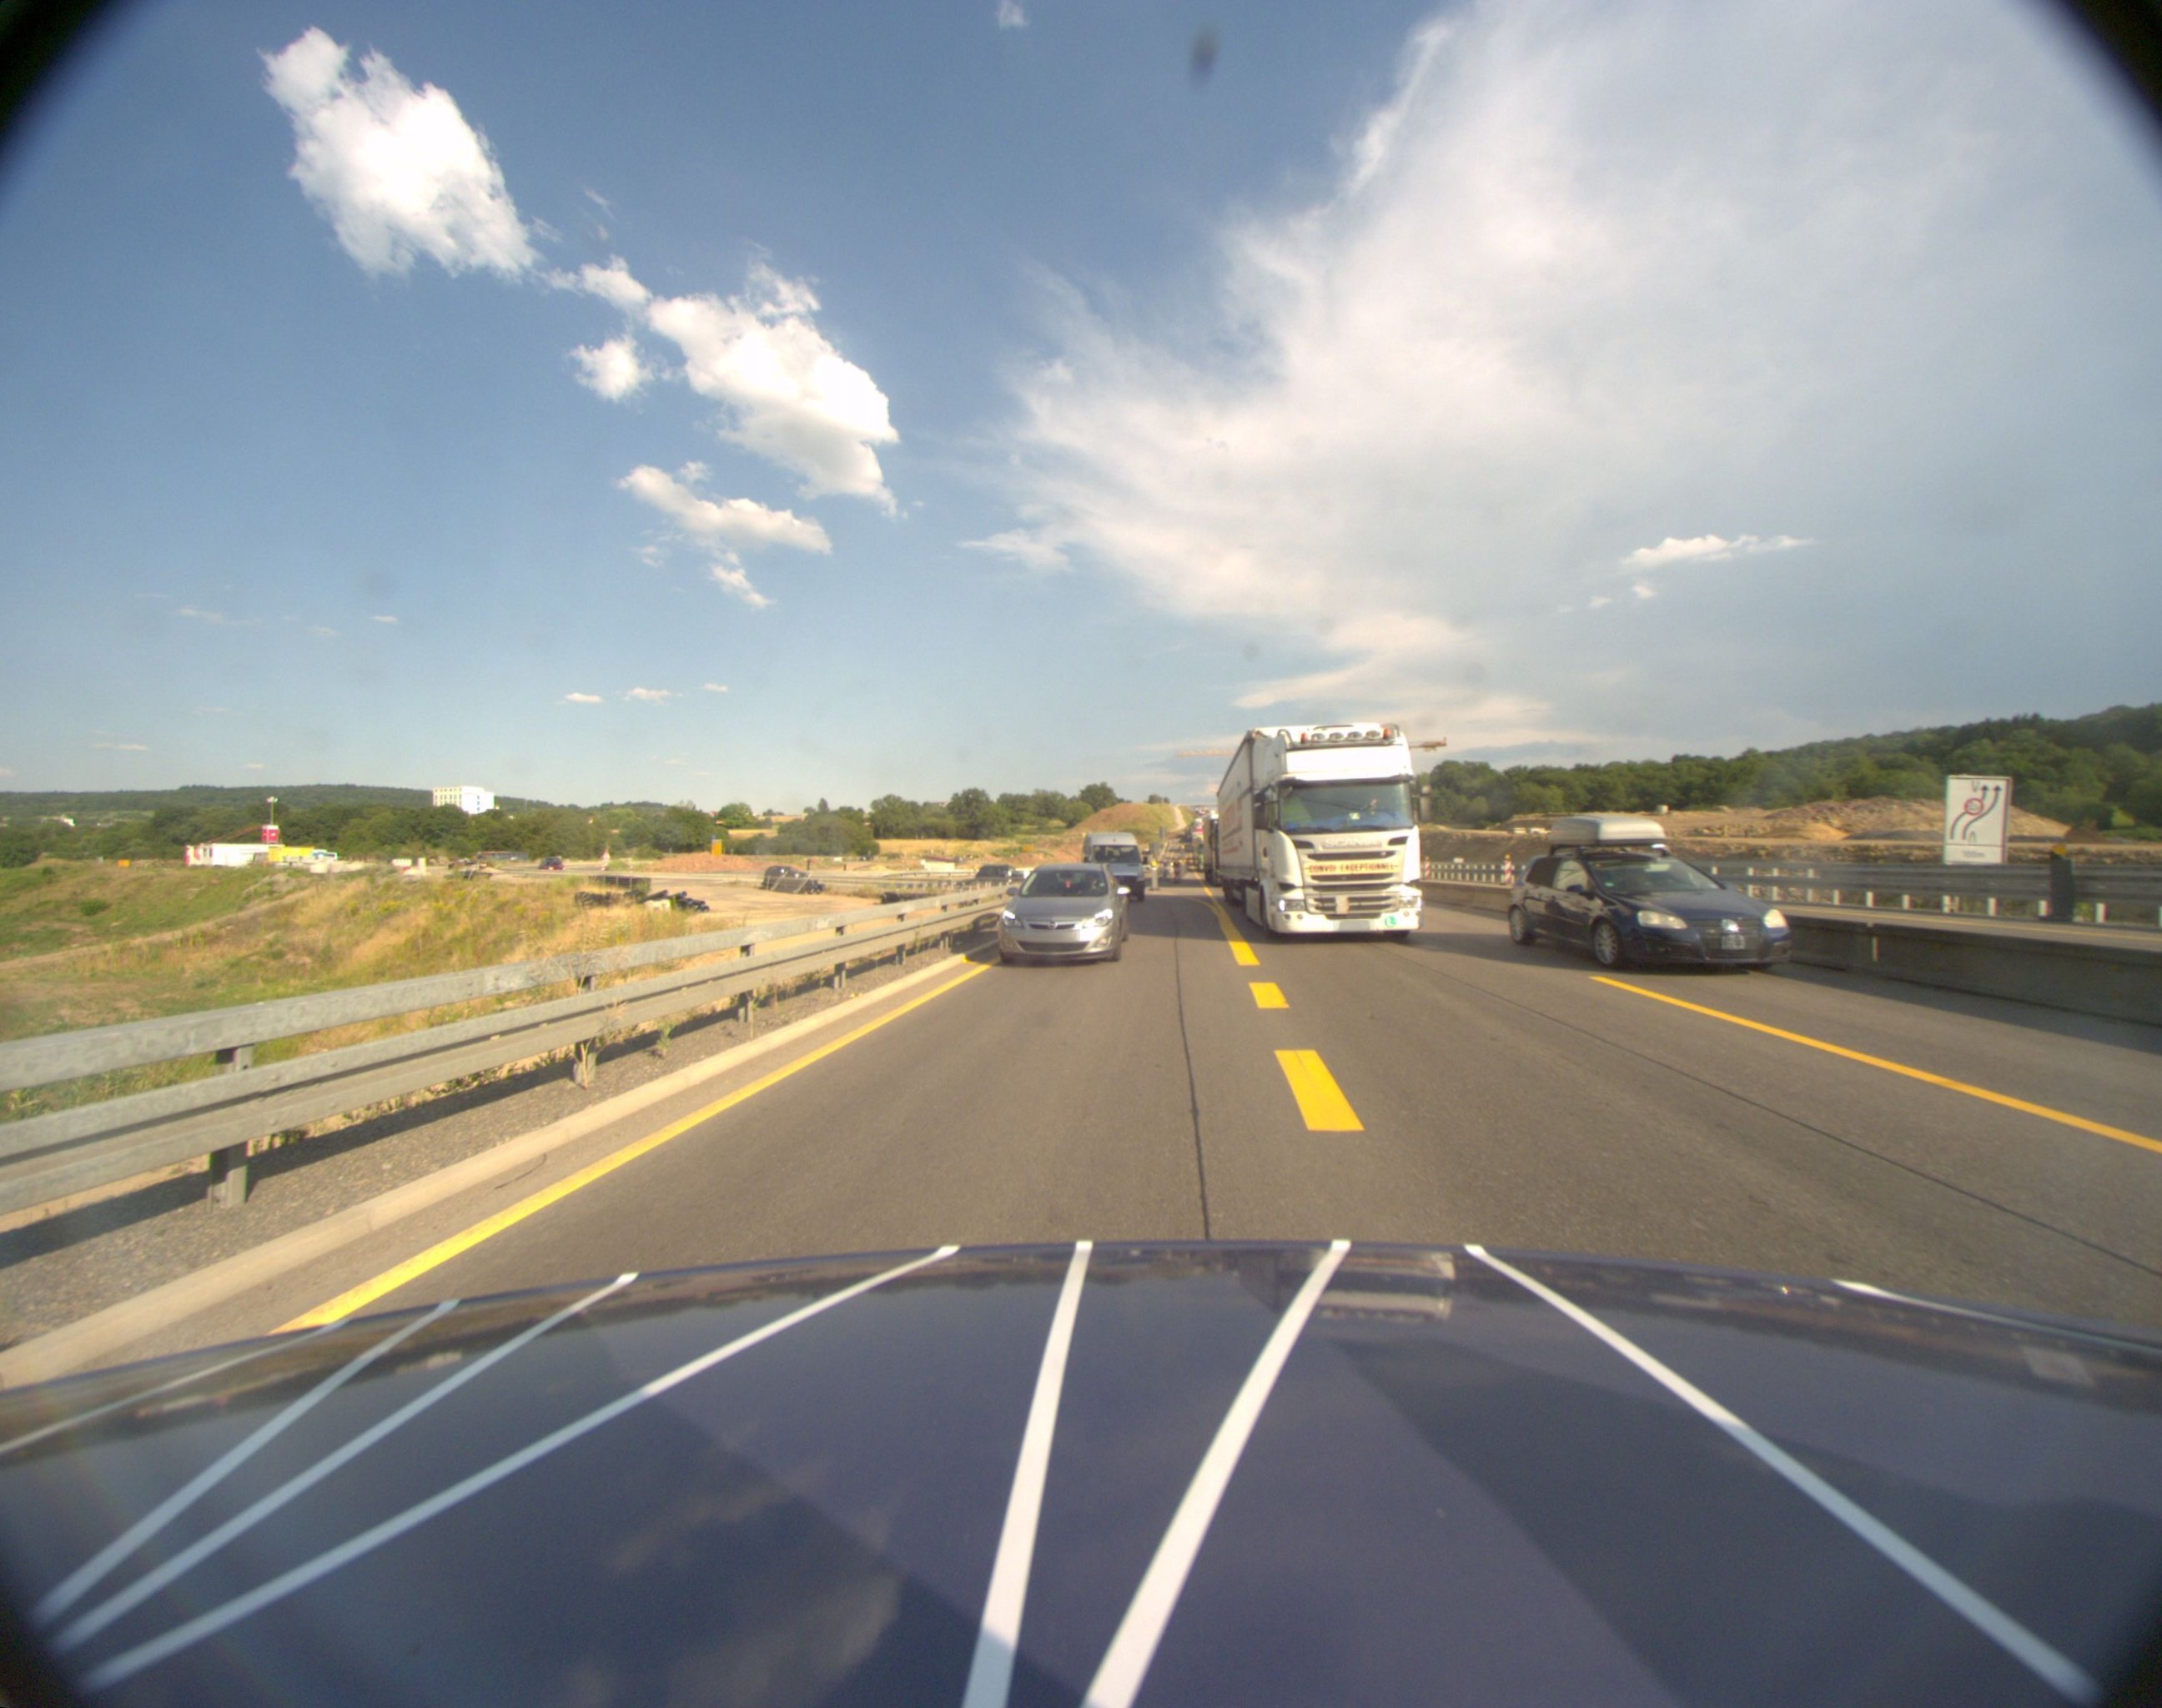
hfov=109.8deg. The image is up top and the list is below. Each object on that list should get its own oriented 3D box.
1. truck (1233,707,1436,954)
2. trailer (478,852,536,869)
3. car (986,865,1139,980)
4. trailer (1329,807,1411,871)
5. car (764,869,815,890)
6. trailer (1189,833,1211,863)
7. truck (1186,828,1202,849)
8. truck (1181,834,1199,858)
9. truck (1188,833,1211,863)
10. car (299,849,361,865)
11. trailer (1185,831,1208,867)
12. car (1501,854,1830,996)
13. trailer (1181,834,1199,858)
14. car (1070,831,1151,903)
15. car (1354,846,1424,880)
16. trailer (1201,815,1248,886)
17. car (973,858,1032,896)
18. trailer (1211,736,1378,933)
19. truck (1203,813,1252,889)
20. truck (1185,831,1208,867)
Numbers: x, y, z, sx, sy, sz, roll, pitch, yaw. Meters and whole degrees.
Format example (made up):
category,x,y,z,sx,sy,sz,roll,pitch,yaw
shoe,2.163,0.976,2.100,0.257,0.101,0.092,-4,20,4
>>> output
category,x,y,z,sx,sy,sz,roll,pitch,yaw
truck,4.588,-0.379,14.971,2.485,3.856,6.013,-1,1,5
trailer,-84.755,0.892,112.358,3.011,2.400,7.227,0,1,0
car,-0.105,0.976,12.472,1.746,1.476,4.255,-1,0,9
trailer,20.635,-1.052,55.311,2.632,4.043,14.088,1,1,9
car,-26.436,2.307,68.880,4.118,1.776,1.639,1,1,16
trailer,18.761,-0.974,119.710,3.109,4.289,14.260,1,1,9
truck,24.672,-3.360,165.730,3.109,4.289,6.901,1,1,9
truck,19.629,-1.446,136.625,3.109,4.289,6.901,1,1,9
truck,17.471,-0.921,111.692,3.109,4.289,6.901,1,1,9
car,-99.346,0.384,100.613,2.481,2.067,5.328,1,1,20
trailer,13.891,-0.632,91.213,2.485,3.936,13.984,-1,1,9
car,7.343,0.771,10.128,1.824,1.476,3.922,-1,0,9
trailer,20.783,-1.530,144.190,3.109,4.289,14.260,1,1,9
car,0.987,0.419,29.136,1.918,2.486,5.792,1,1,-9
car,14.452,0.372,35.894,1.997,1.457,4.538,1,1,8
trailer,9.256,-0.260,50.163,2.485,4.038,13.638,-1,1,8
car,-5.446,1.546,52.453,3.988,2.389,1.881,2,1,43
trailer,5.368,-0.444,21.804,2.485,3.856,13.636,-1,1,7
truck,8.250,-0.168,43.336,2.485,4.037,6.015,-1,1,8
truck,12.885,-0.540,84.711,2.485,3.879,6.015,-1,1,8
